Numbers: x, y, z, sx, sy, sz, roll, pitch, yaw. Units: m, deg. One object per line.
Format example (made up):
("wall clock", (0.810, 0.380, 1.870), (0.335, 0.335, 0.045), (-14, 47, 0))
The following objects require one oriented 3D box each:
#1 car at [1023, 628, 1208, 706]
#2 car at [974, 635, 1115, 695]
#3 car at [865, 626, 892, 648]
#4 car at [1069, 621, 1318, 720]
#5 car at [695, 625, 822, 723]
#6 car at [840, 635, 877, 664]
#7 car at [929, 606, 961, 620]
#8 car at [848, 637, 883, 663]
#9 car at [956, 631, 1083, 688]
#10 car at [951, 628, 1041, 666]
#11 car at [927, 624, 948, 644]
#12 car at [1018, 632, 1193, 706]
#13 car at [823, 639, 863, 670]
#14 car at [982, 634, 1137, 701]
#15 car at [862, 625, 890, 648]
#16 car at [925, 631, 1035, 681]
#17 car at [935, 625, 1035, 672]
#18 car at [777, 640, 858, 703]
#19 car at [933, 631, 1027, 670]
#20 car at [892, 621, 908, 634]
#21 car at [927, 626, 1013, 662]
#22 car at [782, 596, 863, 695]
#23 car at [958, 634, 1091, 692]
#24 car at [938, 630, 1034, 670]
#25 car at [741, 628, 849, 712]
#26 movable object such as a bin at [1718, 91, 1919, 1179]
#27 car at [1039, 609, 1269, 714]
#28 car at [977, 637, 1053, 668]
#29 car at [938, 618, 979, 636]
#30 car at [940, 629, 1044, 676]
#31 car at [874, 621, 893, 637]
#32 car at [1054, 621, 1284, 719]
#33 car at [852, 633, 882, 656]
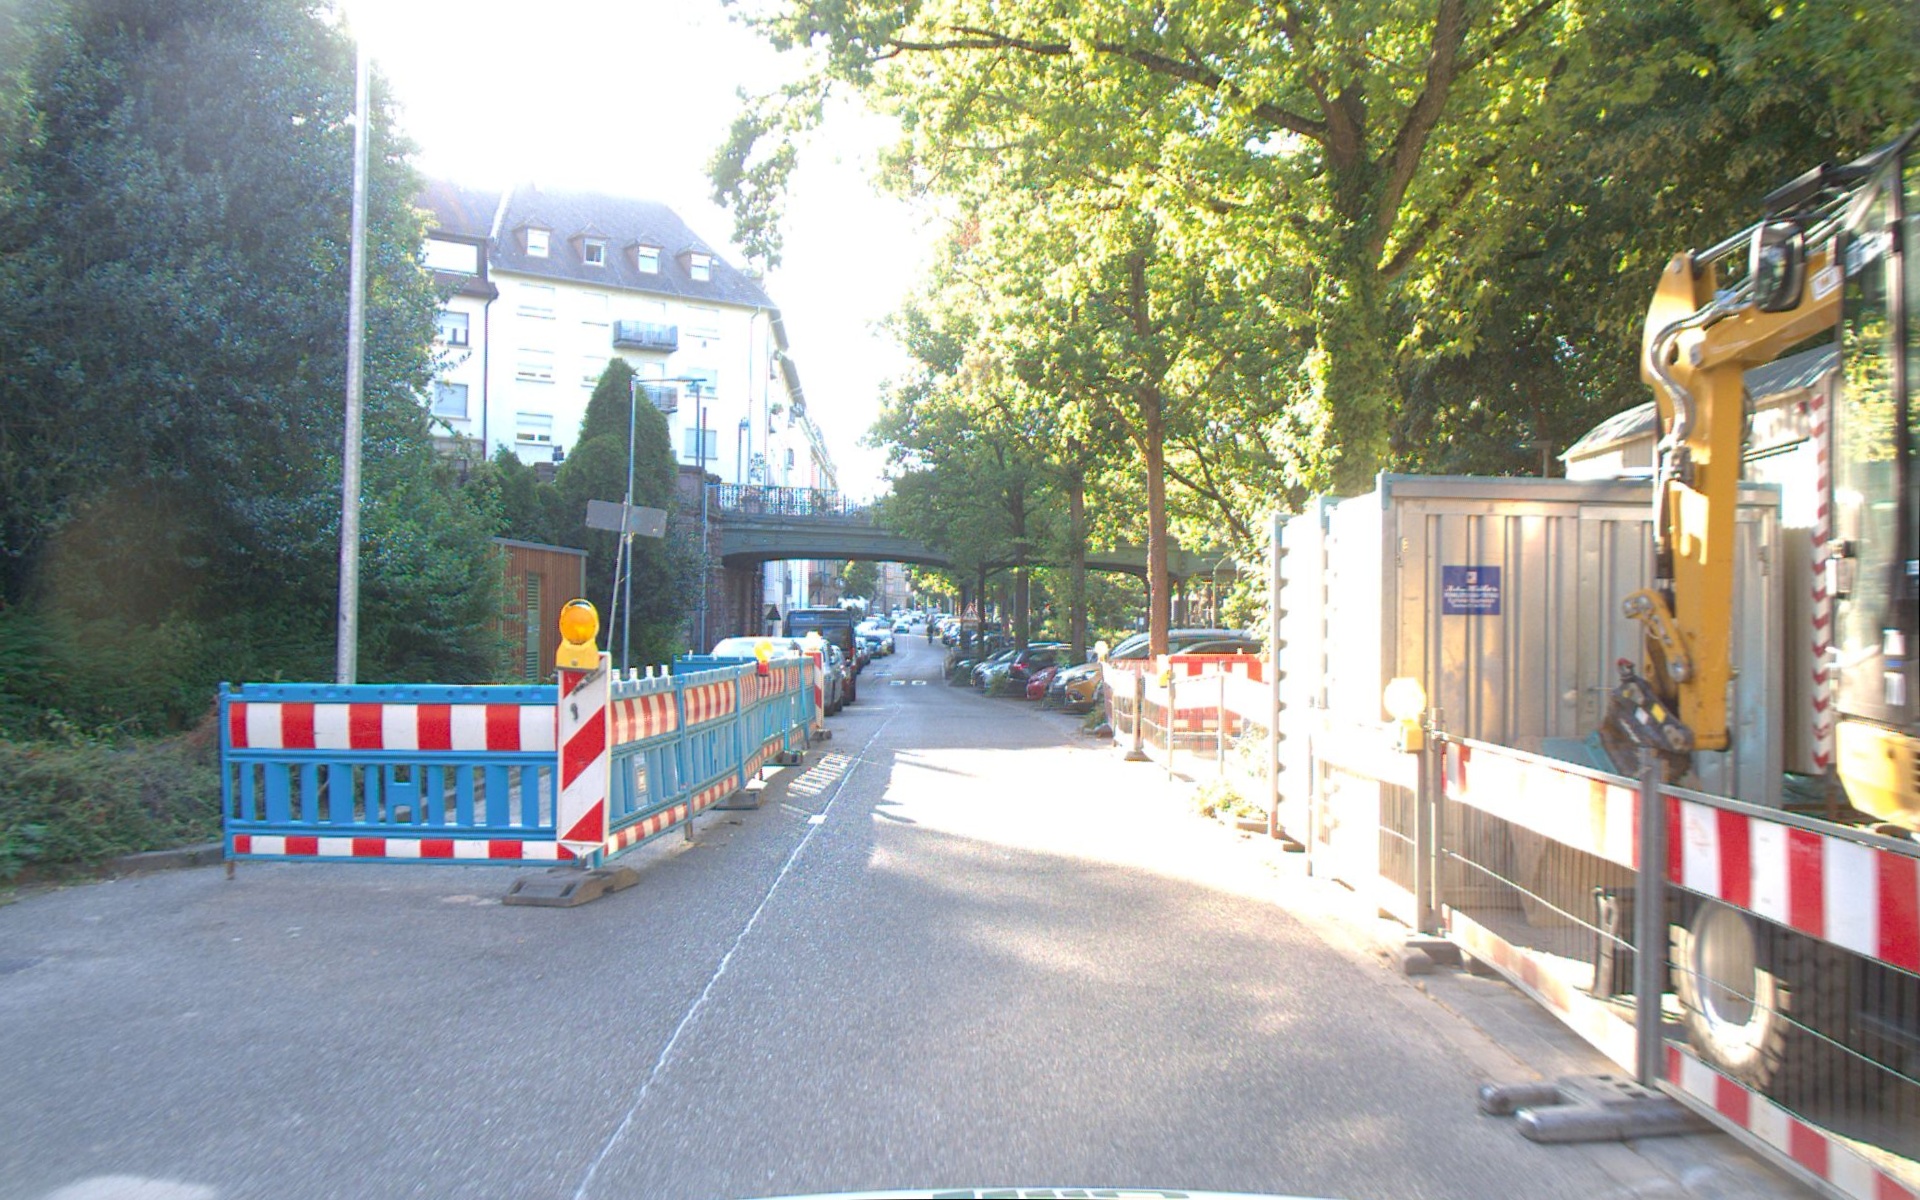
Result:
("car", (3.813, 1.675, 41.076), (4.300, 1.732, 1.915), (2, -3, -4))
("car", (2.696, 2.096, 53.164), (4.300, 1.732, 1.915), (2, -3, -4))
("car", (-5.601, 2.573, 113.712), (1.776, 1.422, 3.973), (0, -2, -2))
("car", (4.337, 1.333, 31.164), (4.302, 1.634, 1.914), (3, -3, -5))
("car", (-3.202, 1.181, 26.896), (1.680, 1.443, 4.104), (0, -2, -2))
("car", (-5.210, 2.547, 85.086), (1.776, 1.422, 3.973), (0, -2, -2))
("car", (-2.074, 1.828, 226.914), (4.298, 1.638, 1.780), (2, -3, -1))
("car", (-5.204, 2.780, 91.434), (1.776, 1.422, 3.973), (0, -2, -2))
("car", (2.073, 2.111, 58.437), (4.300, 1.816, 1.915), (2, -3, -4))
("car", (1.795, 2.347, 82.270), (4.300, 1.638, 1.779), (2, -3, -4))
("car", (-1.906, 2.928, 141.585), (1.739, 1.638, 4.400), (2, -2, -1))
("car", (3.781, 1.809, 43.376), (4.300, 1.732, 1.915), (2, -3, -4))
("car", (-5.562, 2.625, 78.930), (1.776, 1.422, 3.973), (0, -2, -2))
("car", (2.893, 1.987, 48.529), (4.300, 1.732, 1.915), (2, -3, -4))
("car", (-5.510, 2.401, 108.522), (1.776, 1.422, 3.973), (0, -2, -2))
("car", (0.798, 2.297, 67.111), (4.300, 1.816, 1.915), (2, -3, -4))
("car", (1.092, 2.173, 74.007), (4.300, 1.894, 1.915), (2, -3, -4))
("car", (-3.503, 1.776, 41.398), (1.776, 1.479, 4.348), (0, -2, -2))
("car", (0.929, 2.397, 78.651), (4.300, 1.638, 1.779), (2, -3, -4))
("car", (-6.940, 3.186, 191.383), (1.776, 1.422, 3.973), (0, -2, -2))
("car", (0.505, 2.306, 86.446), (4.300, 1.638, 1.779), (2, -3, -4))
("car", (-3.799, 1.310, 46.519), (2.006, 2.541, 5.692), (2, -2, -3))
("car", (2.147, 2.135, 55.910), (4.300, 1.732, 1.915), (2, -3, -4))
("car", (1.171, 2.315, 76.614), (4.300, 1.638, 1.779), (2, -3, -4))
("car", (-3.192, 1.333, 32.723), (1.776, 1.465, 4.348), (2, -1, -2))
("movable object such as a bin", (3.483, 0.088, 4.459), (1.951, 2.746, 3.113), (1, 0, 12))
("car", (4.163, 1.345, 35.969), (4.649, 2.032, 1.914), (2, -3, -5))
("car", (3.187, 3.067, 96.695), (4.298, 1.638, 1.780), (2, -3, -1))
("car", (-0.188, 2.850, 175.073), (4.298, 1.638, 1.780), (2, -3, -1))
("car", (1.369, 2.287, 71.726), (4.300, 1.816, 1.915), (2, -3, -4))
("car", (-7.557, 2.886, 163.486), (1.776, 1.422, 3.973), (0, -2, -2))
("car", (4.160, 1.419, 33.334), (4.300, 1.732, 1.915), (2, -3, -4))
("car", (-5.776, 2.809, 103.366), (1.776, 1.422, 3.973), (0, -2, -2))
